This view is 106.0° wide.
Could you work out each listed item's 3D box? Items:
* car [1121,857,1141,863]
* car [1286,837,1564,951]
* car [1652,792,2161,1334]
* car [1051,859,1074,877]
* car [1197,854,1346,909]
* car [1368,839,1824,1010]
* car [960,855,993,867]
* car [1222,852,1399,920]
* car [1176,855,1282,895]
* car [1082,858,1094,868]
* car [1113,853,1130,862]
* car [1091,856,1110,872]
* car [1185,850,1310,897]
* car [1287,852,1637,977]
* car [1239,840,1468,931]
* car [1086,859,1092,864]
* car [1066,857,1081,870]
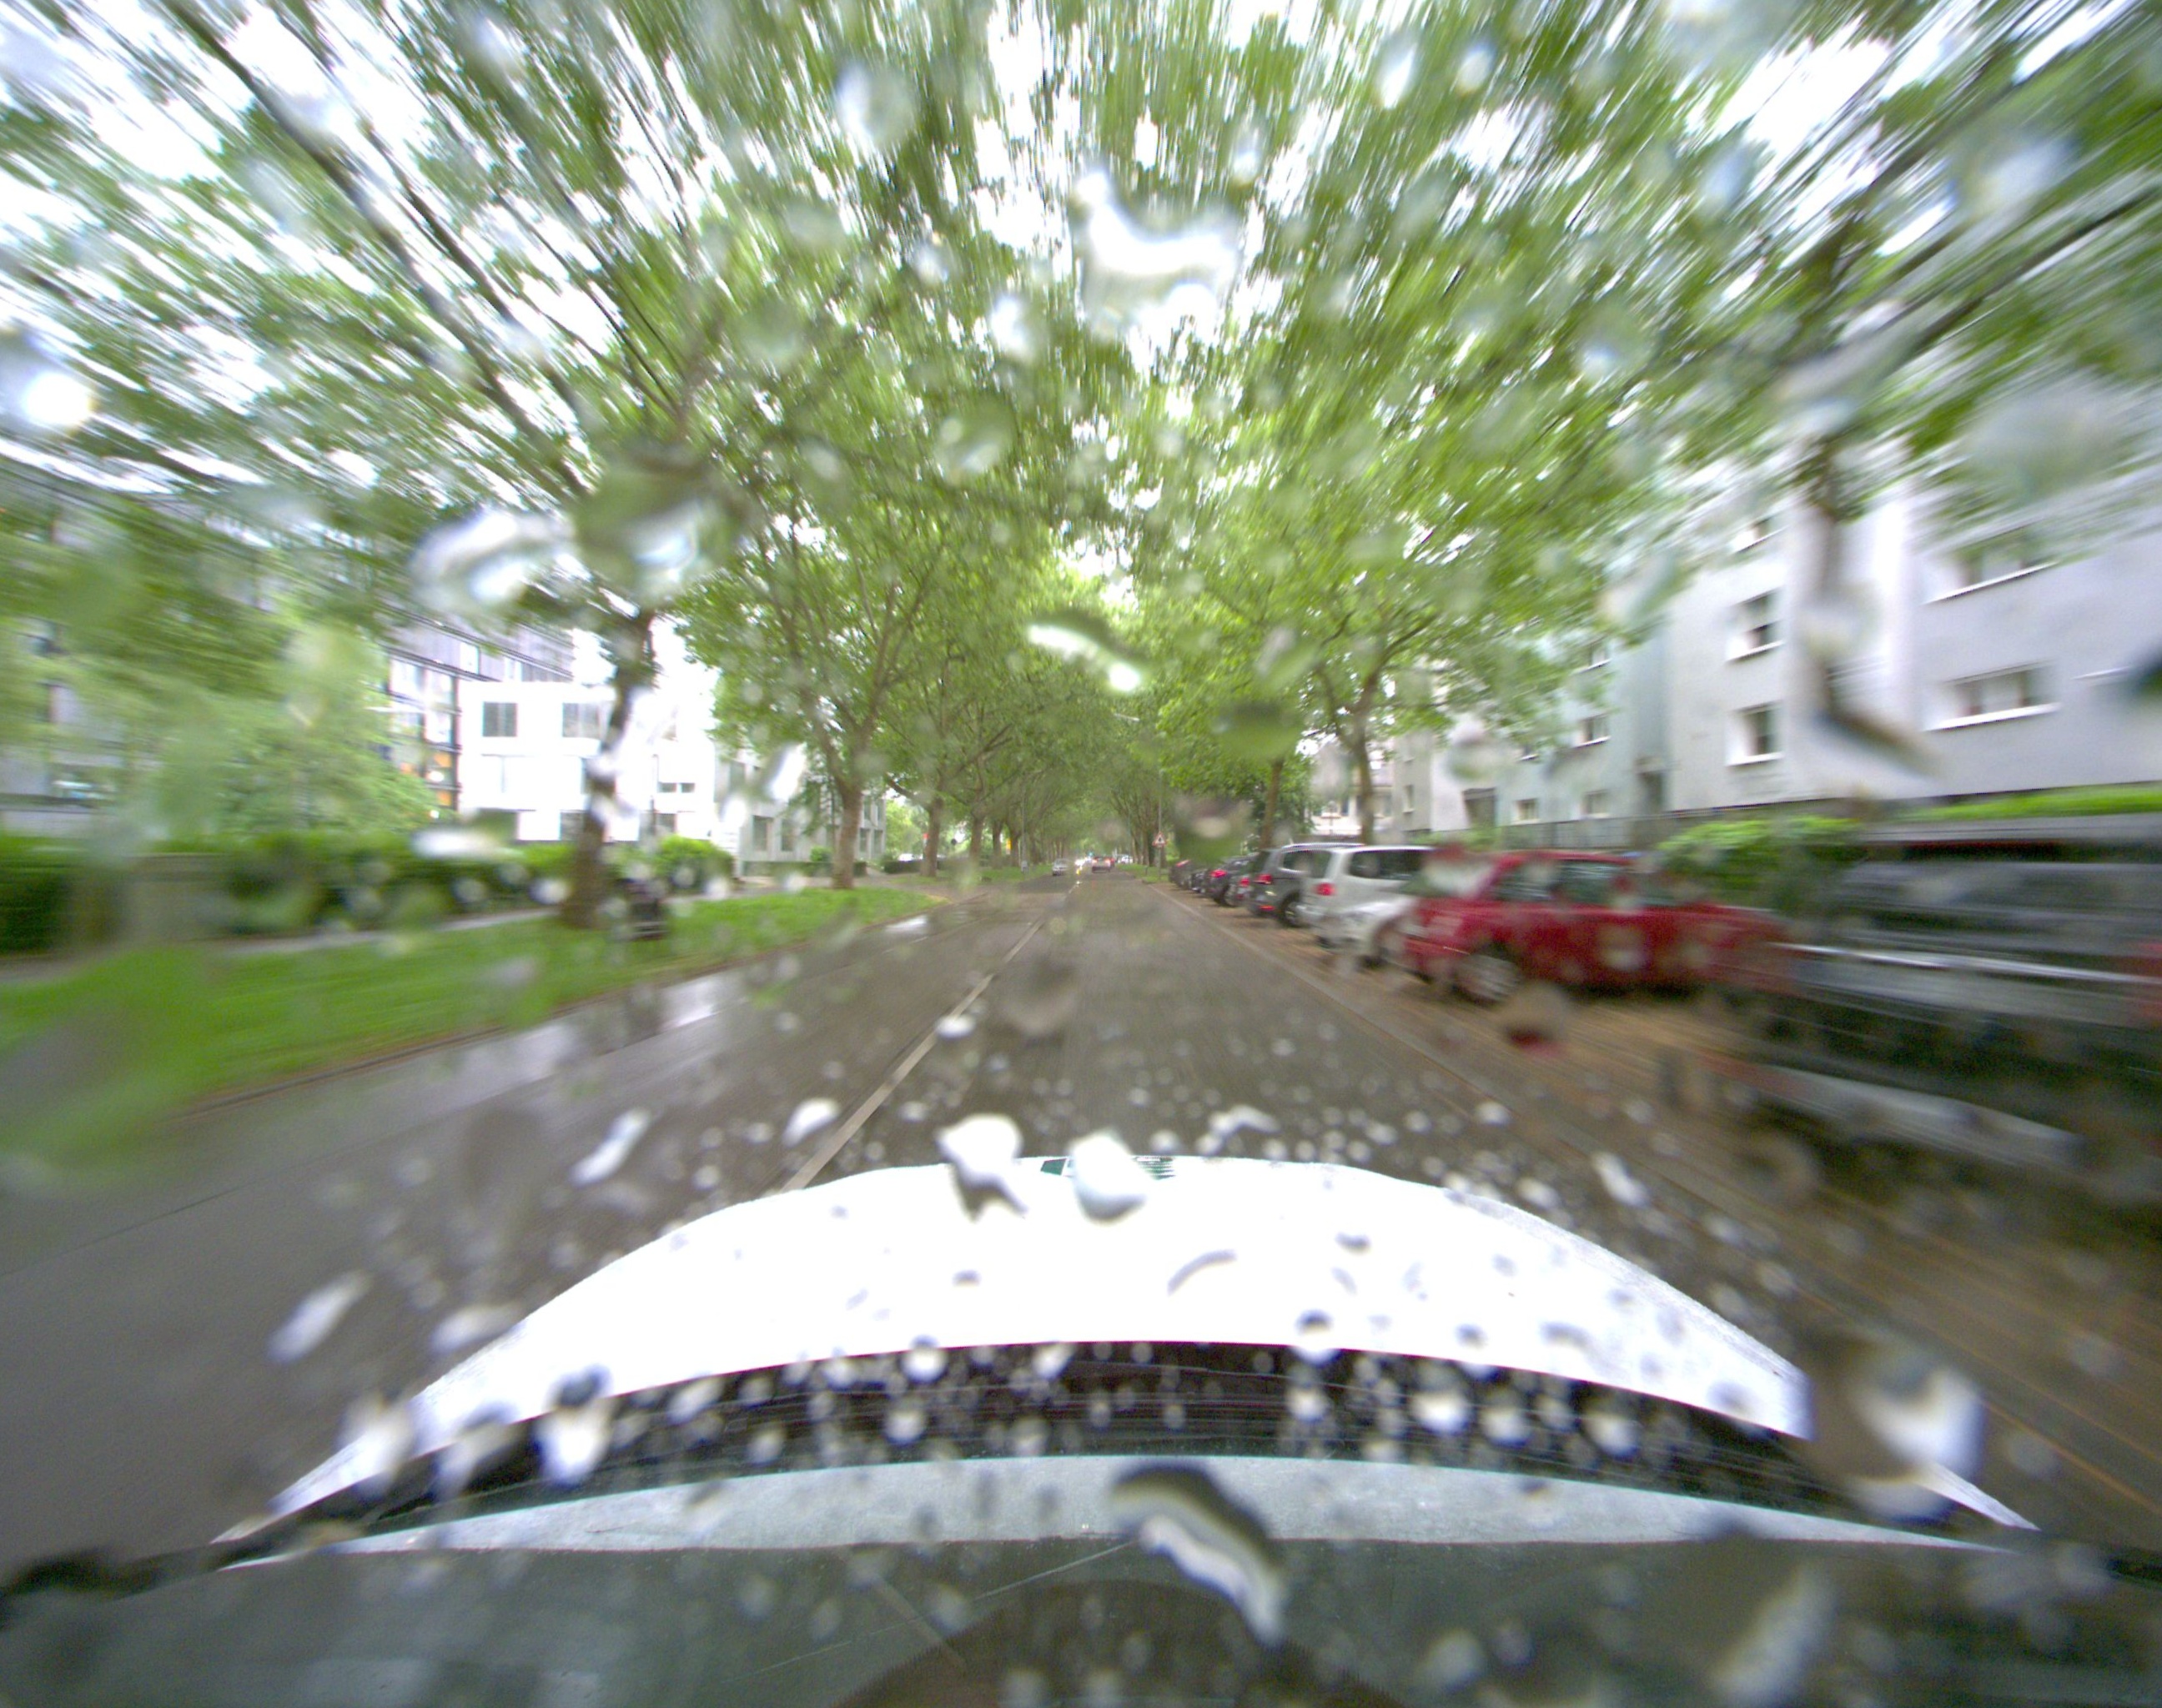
[{"bbox_3d":[9.370,1.131,152.791,3.537,1.155,1.711,-2,0,-2],"label":"car"},{"bbox_3d":[5.679,0.630,13.834,3.971,1.727,1.802,1,0,2],"label":"car"},{"bbox_3d":[4.847,0.585,3.922,3.876,1.697,1.822,-2,1,-27],"label":"car"},{"bbox_3d":[-1.568,1.177,69.438,1.672,1.388,4.551,-1,0,2],"label":"car"},{"bbox_3d":[5.629,0.794,24.368,4.024,1.441,1.684,-2,0,-2],"label":"car"},{"bbox_3d":[5.184,0.683,8.634,3.686,1.536,1.740,-2,0,4],"label":"car"},{"bbox_3d":[-13.568,0.918,105.598,3.972,1.623,2.001,0,0,1],"label":"car"},{"bbox_3d":[5.614,0.766,20.254,3.972,1.537,1.631,1,0,1],"label":"car"},{"bbox_3d":[5.992,0.840,33.289,4.030,1.530,1.780,0,0,-1],"label":"car"},{"bbox_3d":[1.098,1.336,123.502,1.700,1.411,3.646,-2,0,1],"label":"car"},{"bbox_3d":[9.001,0.789,180.794,3.536,1.841,1.711,-2,0,-1],"label":"car"},{"bbox_3d":[1.843,0.945,76.075,1.700,1.411,3.646,-2,0,1],"label":"car"},{"bbox_3d":[6.008,0.683,29.689,4.195,1.655,1.914,0,0,0],"label":"car"},{"bbox_3d":[5.048,0.765,11.188,3.974,1.513,1.800,1,0,-1],"label":"car"},{"bbox_3d":[5.729,0.635,17.506,4.321,1.762,1.819,1,0,1],"label":"car"},{"bbox_3d":[2.214,2.025,227.342,1.713,1.255,4.002,1,0,2],"label":"car"},{"bbox_3d":[-1.025,1.269,110.901,1.803,1.684,4.449,-2,0,1],"label":"car"}]
